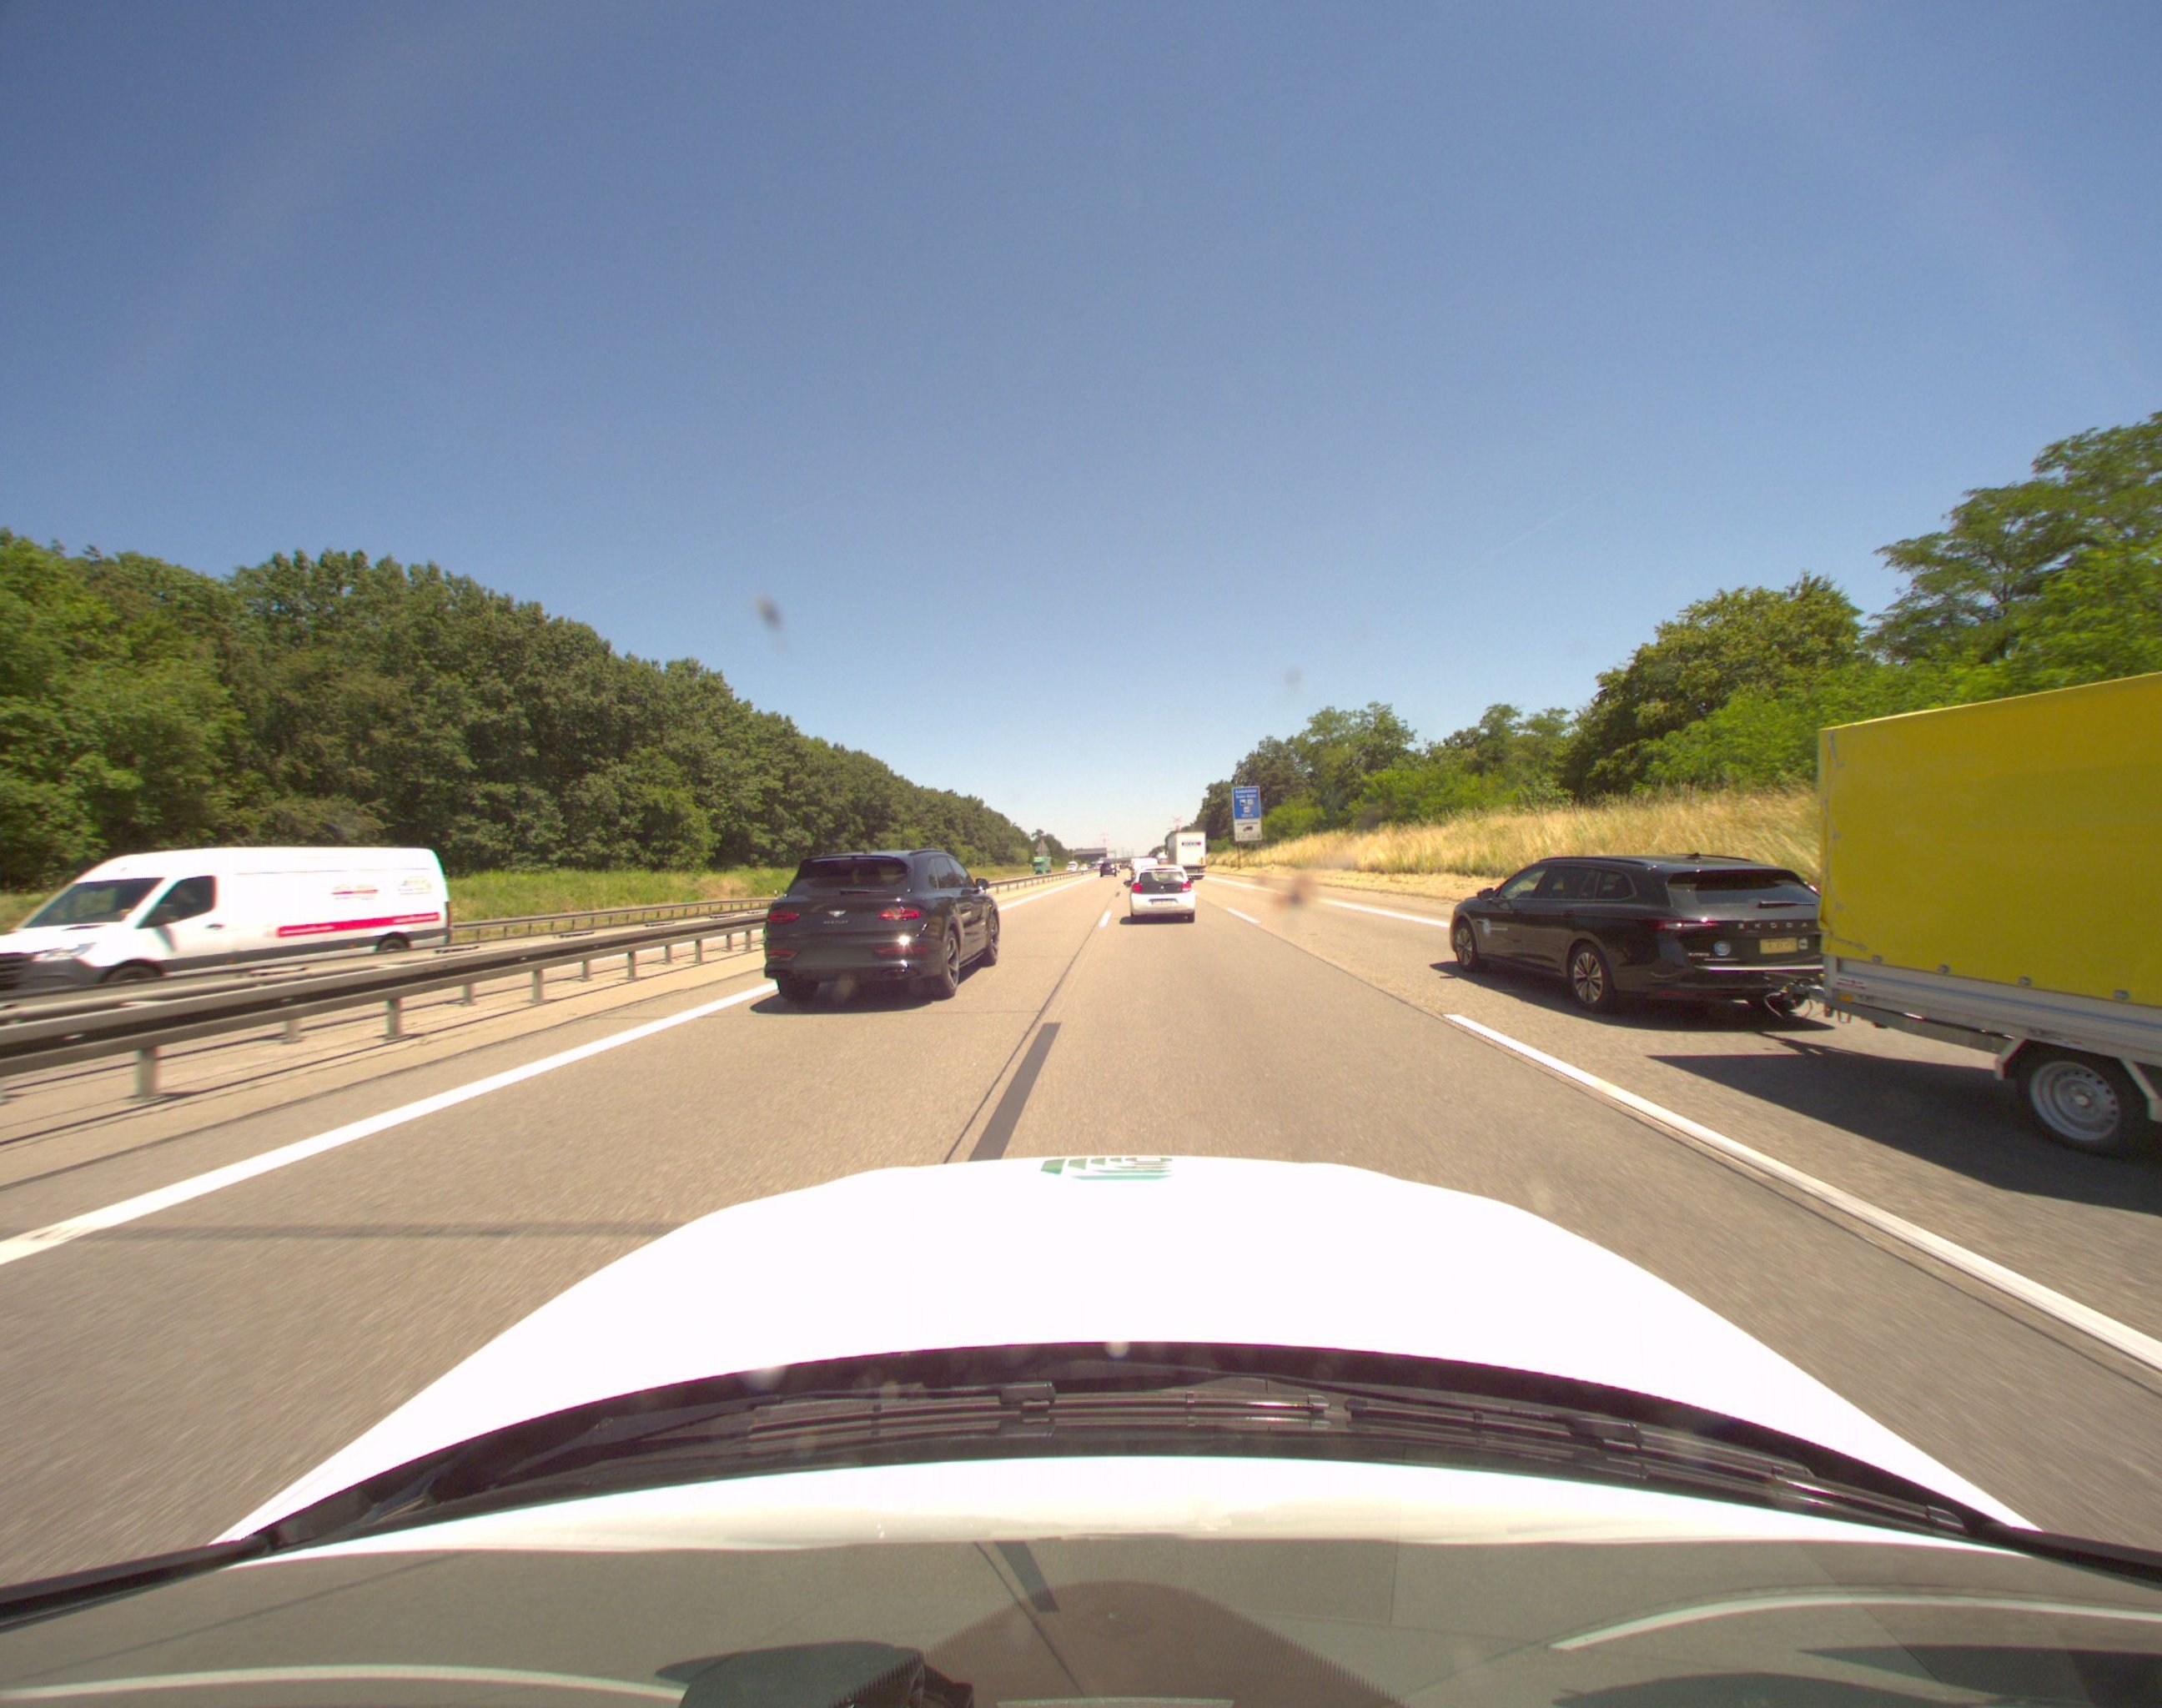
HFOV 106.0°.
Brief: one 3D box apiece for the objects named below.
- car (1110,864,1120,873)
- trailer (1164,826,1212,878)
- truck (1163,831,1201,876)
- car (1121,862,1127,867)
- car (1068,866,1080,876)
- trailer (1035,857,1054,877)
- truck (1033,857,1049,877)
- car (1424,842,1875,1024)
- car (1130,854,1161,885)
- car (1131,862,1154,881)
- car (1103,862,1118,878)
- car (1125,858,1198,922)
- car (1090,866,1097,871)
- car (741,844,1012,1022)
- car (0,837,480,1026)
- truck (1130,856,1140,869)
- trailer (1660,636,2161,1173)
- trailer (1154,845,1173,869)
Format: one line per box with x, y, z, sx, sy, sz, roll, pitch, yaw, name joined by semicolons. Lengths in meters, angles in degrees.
5.804;2.469;140.453;1.662;1.401;3.715;-3;0;2;car
9.623;-0.057;74.514;3.272;4.219;13.575;-1;-1;3;trailer
9.971;0.004;81.157;3.272;4.219;6.012;-1;-1;3;truck
11.875;2.858;226.984;1.600;1.300;3.677;-2;-1;3;car
-1.540;3.560;173.735;1.946;1.792;5.567;-5;-1;3;car
-8.378;2.903;188.785;2.693;4.161;14.350;-5;-1;3;trailer
-8.858;2.844;181.407;2.689;4.161;6.302;-5;-1;3;truck
5.672;0.677;9.085;1.814;1.456;4.791;-1;-1;2;car
4.184;1.017;53.551;1.807;1.827;5.114;-2;-1;3;car
5.049;1.415;66.933;1.767;1.472;3.875;-2;-1;3;car
3.537;1.883;96.910;1.619;1.755;3.808;-2;-1;3;car
2.076;0.893;21.744;1.701;1.495;4.027;-2;-1;3;car
3.739;4.428;244.322;1.702;1.410;5.088;-5;-1;3;car
-2.324;0.805;11.143;1.932;1.752;5.817;-2;0;3;car
-15.483;1.179;15.369;2.156;2.624;7.550;-5;-1;3;car
12.291;1.960;184.654;2.051;2.914;7.008;-2;-1;3;truck
5.498;0.214;4.667;1.696;2.290;3.842;-1;-1;2;trailer
14.086;0.625;139.167;2.671;3.837;12.019;-1;-1;3;trailer
